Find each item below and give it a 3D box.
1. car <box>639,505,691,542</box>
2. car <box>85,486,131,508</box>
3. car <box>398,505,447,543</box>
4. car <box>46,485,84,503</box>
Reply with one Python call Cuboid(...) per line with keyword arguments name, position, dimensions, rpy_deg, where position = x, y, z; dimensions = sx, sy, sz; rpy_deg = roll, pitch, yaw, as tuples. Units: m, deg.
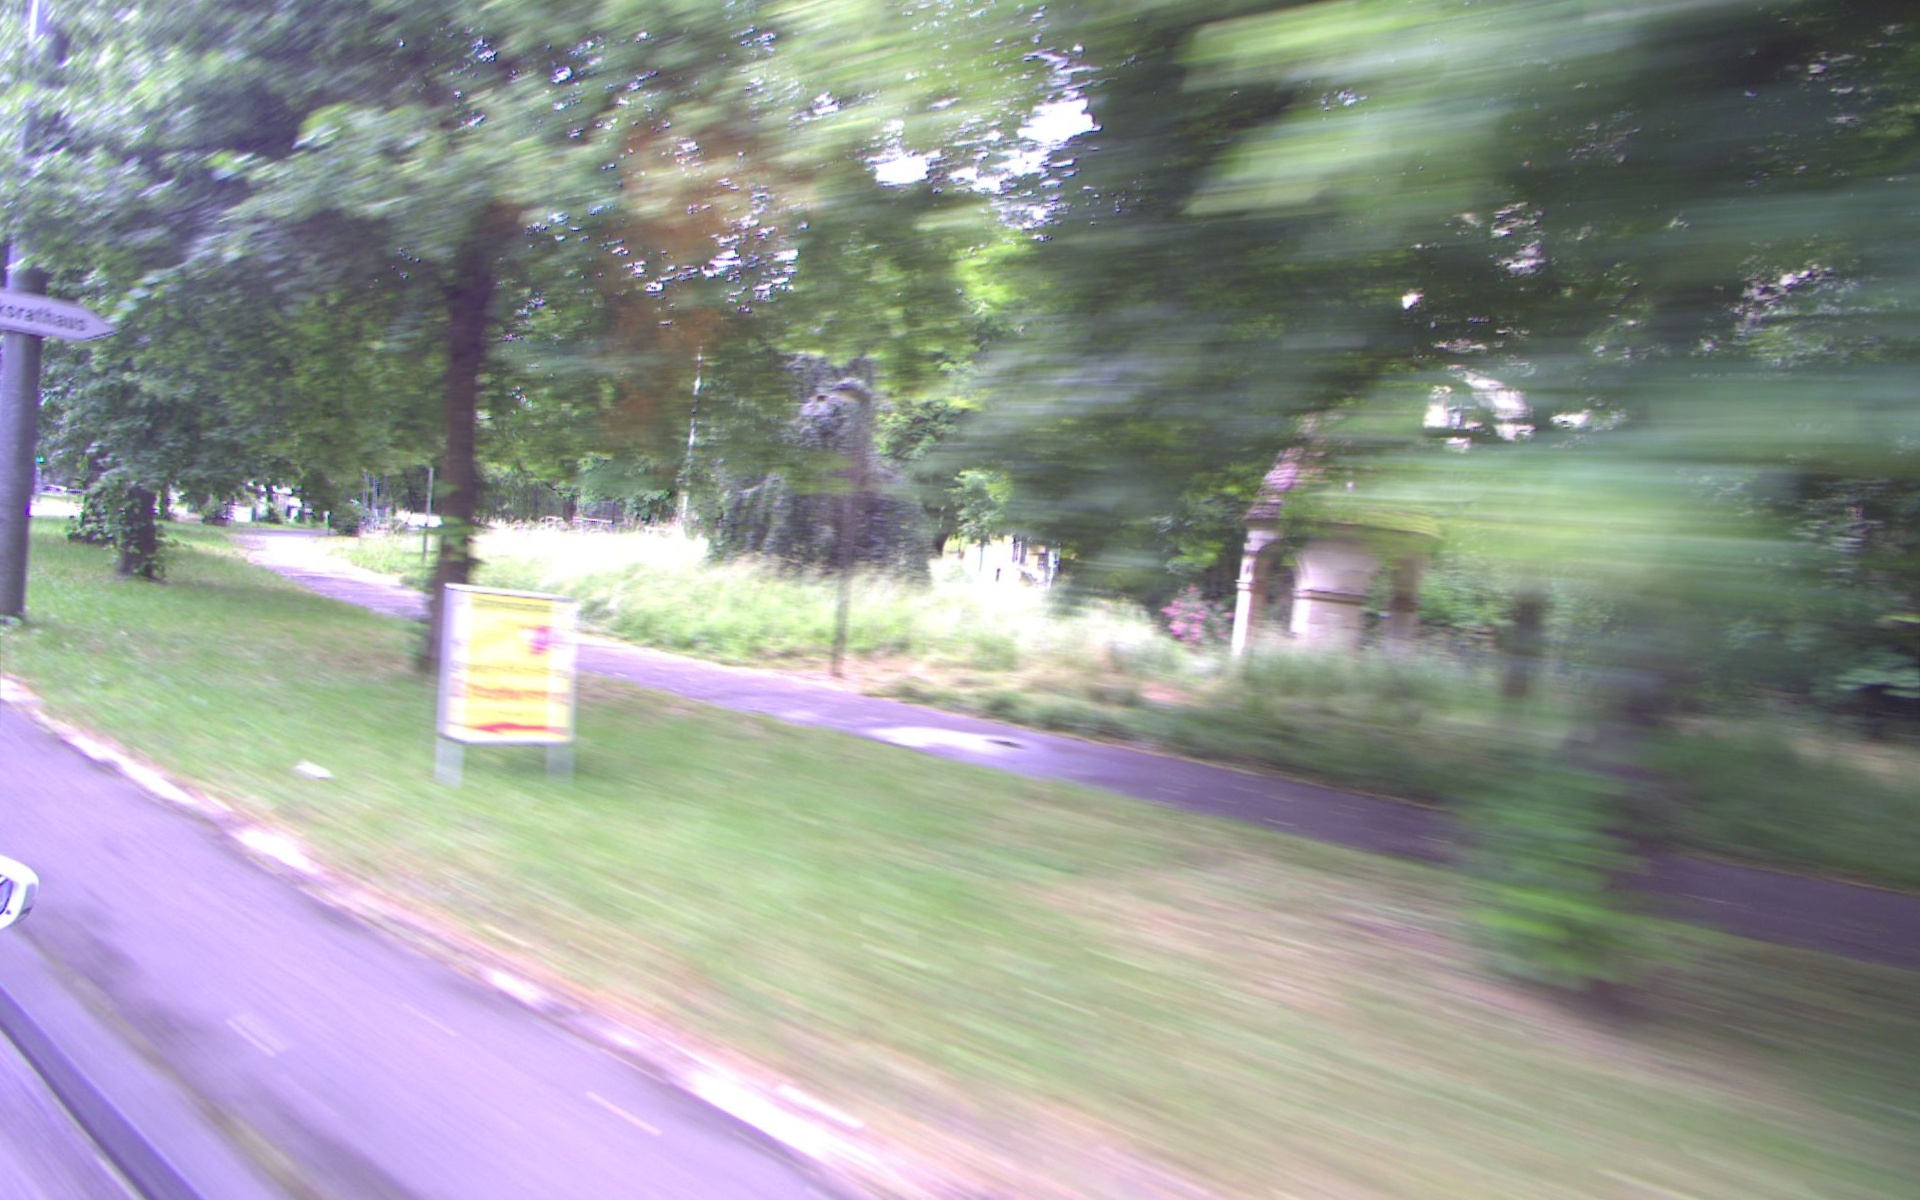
Cuboid(name="car", position=(-16.069, -4.174, 54.616), dimensions=(1.973, 1.675, 3.968), rpy_deg=(1, 6, -27))
Cuboid(name="car", position=(-78.388, -9.446, 92.636), dimensions=(1.899, 1.718, 3.979), rpy_deg=(4, 2, -20))
Cuboid(name="car", position=(-25.379, -3.622, 47.636), dimensions=(1.888, 1.451, 4.431), rpy_deg=(4, 5, -27))
Cuboid(name="car", position=(-75.416, -8.926, 84.819), dimensions=(1.535, 1.295, 2.541), rpy_deg=(4, 2, -20))
